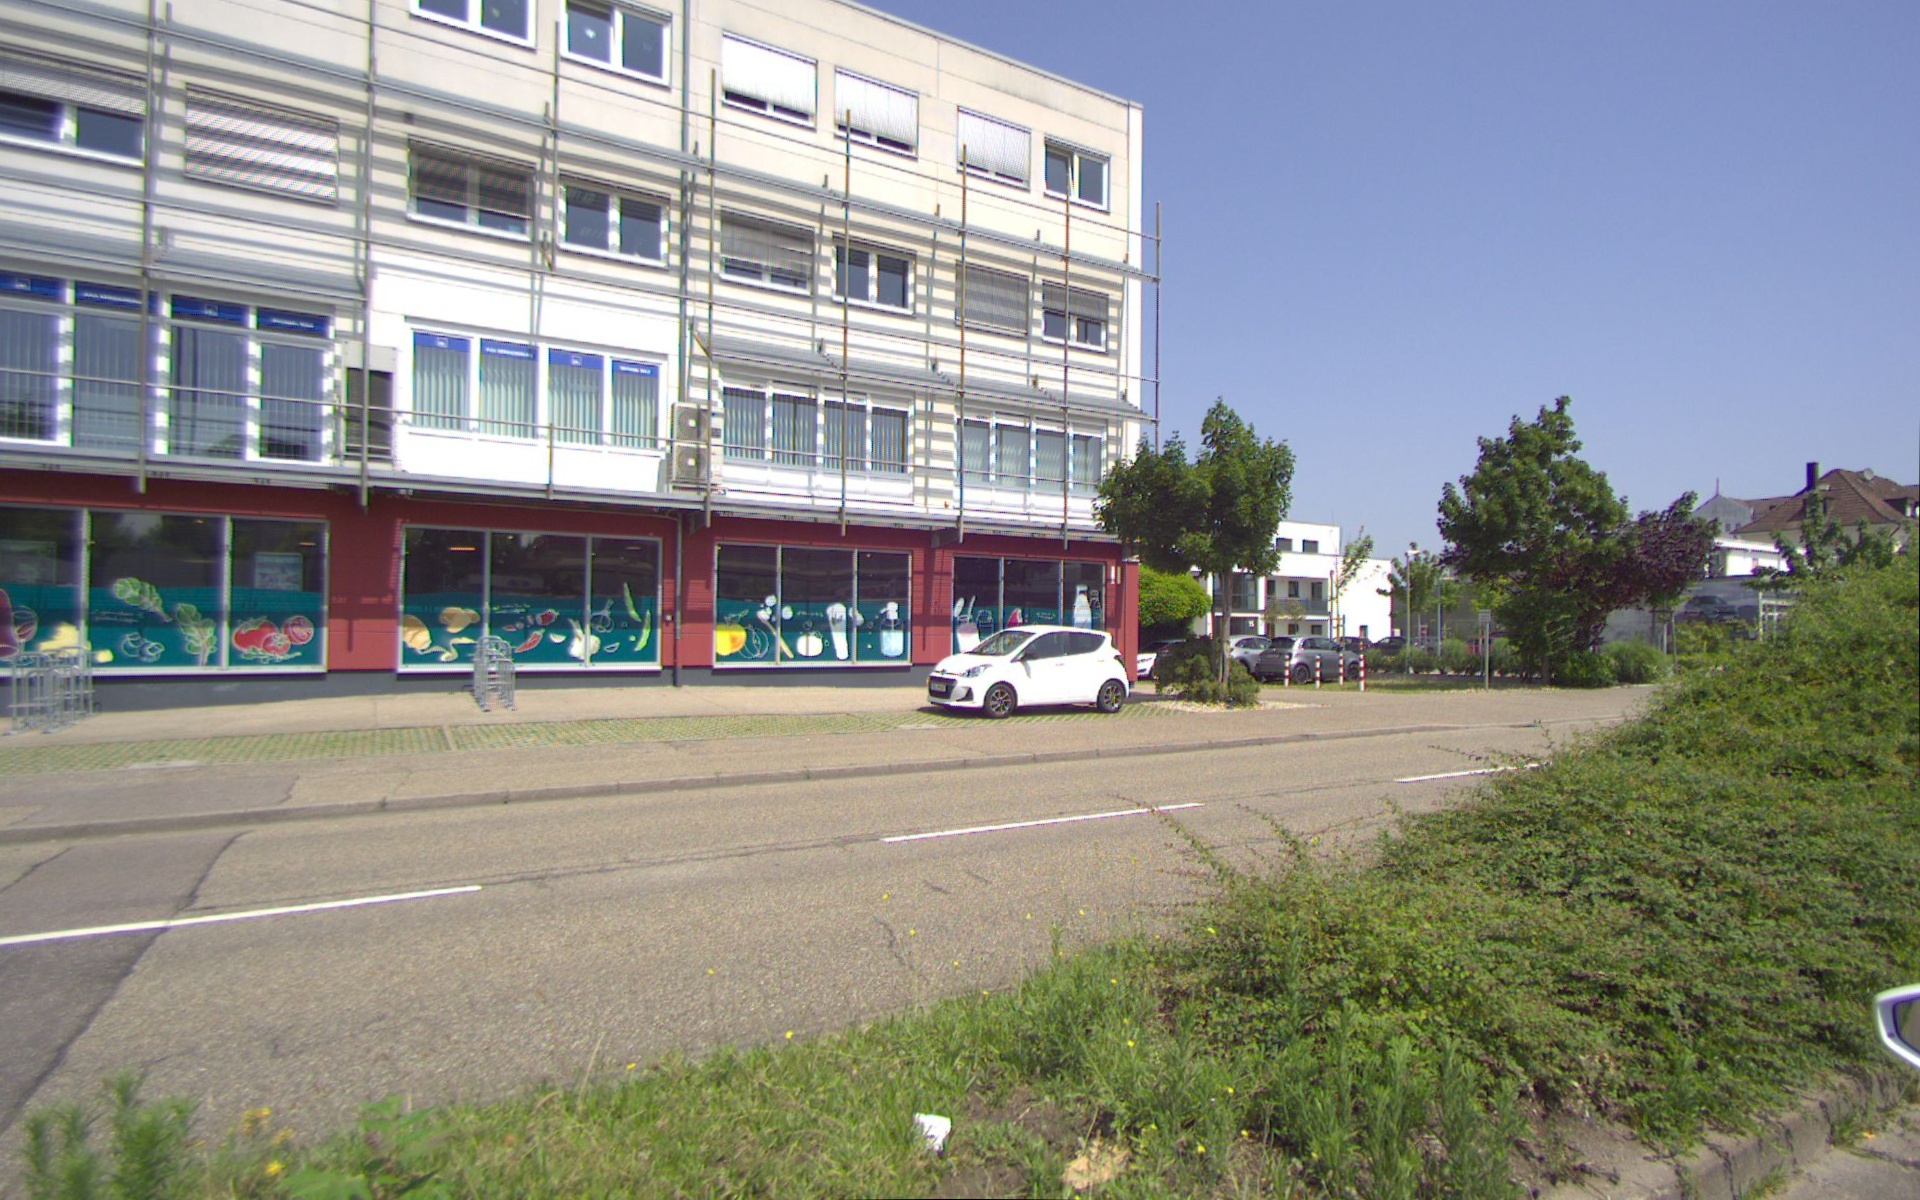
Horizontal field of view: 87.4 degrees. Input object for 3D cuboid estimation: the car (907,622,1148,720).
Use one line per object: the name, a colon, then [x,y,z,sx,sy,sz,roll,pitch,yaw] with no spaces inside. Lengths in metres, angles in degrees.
car: [1.218,1.164,17.609,3.997,1.514,1.670,1,0,-32]

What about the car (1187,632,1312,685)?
car: [9.690,1.955,33.520,3.954,1.572,1.746,3,-2,-30]

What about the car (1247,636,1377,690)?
car: [11.185,1.999,31.890,3.953,1.567,1.761,3,-3,-30]
